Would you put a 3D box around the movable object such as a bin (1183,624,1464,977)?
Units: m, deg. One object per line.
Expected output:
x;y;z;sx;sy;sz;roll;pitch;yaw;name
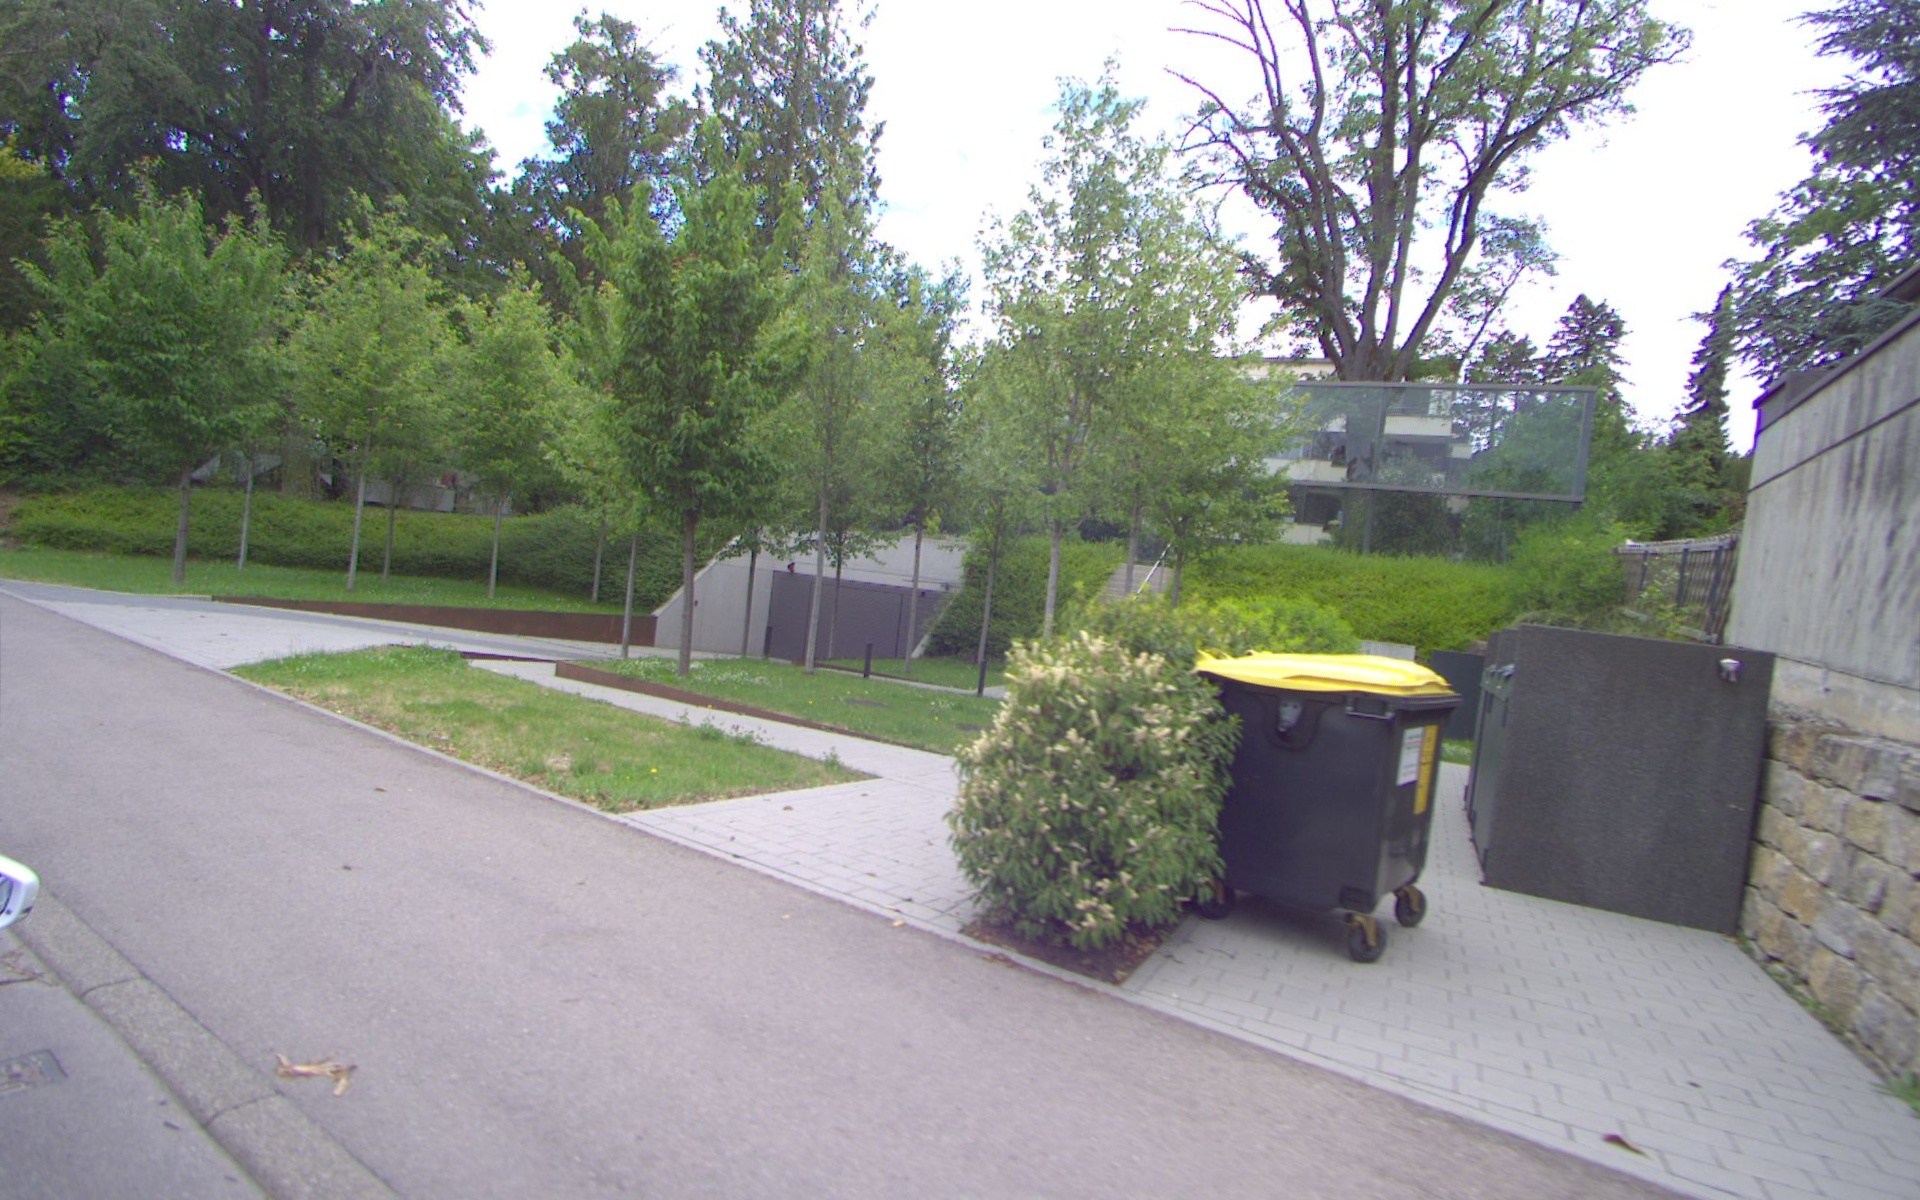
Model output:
1.814;0.885;4.918;0.861;1.380;1.266;6;0;35;movable object such as a bin
